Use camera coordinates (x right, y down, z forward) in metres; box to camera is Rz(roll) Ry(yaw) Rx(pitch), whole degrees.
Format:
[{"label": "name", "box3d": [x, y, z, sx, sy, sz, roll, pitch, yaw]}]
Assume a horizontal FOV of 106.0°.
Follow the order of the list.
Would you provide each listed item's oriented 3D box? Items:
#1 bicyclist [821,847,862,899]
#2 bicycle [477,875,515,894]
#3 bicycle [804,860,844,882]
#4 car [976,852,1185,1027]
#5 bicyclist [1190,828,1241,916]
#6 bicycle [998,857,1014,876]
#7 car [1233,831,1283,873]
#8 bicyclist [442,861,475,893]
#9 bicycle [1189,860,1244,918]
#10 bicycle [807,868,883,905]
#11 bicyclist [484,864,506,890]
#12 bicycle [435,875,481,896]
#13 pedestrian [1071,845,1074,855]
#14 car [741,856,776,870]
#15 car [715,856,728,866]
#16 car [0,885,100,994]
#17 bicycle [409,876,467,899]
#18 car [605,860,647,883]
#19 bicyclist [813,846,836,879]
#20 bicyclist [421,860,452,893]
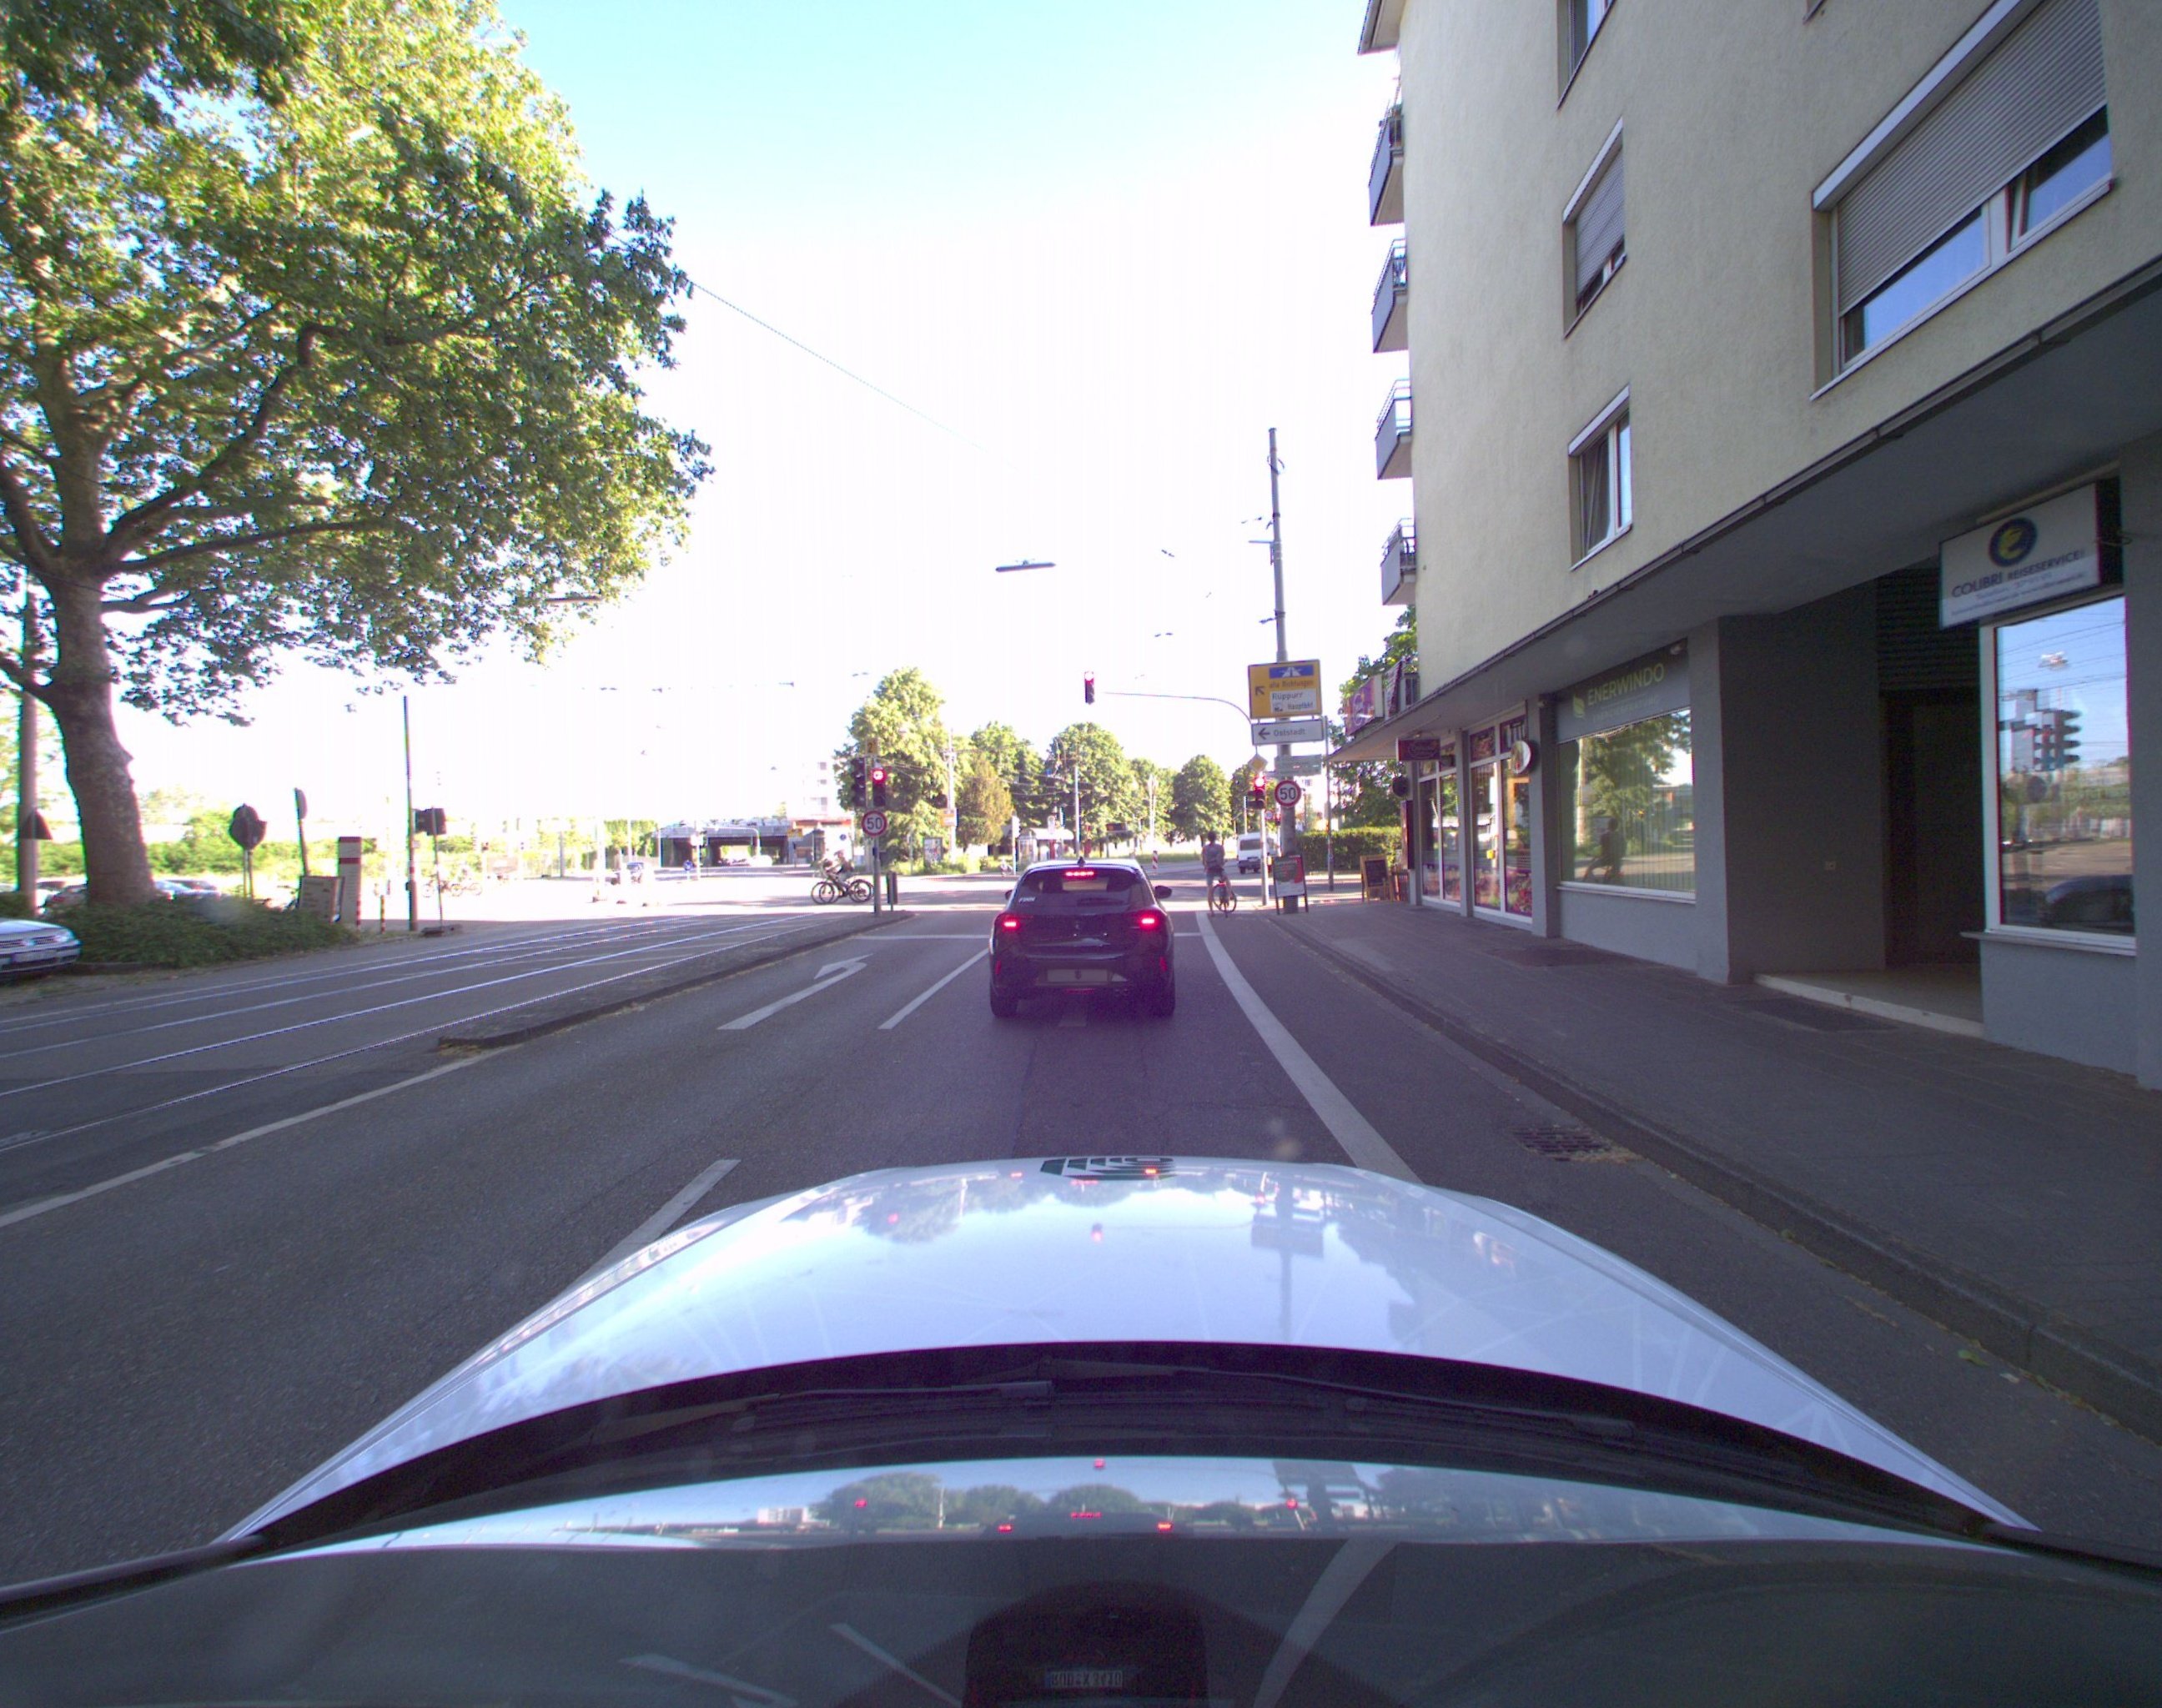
[{"label": "bicyclist", "box3d": [-7.378, 0.565, 25.077, 1.117, 1.520, 0.915, -2, 0, -21]}, {"label": "bicycle", "box3d": [-35.314, 1.832, 49.171, 0.578, 1.060, 2.047, -2, 0, 7]}, {"label": "bicycle", "box3d": [-13.011, 0.863, 41.230, 2.036, 1.094, 0.596, -2, 0, 23]}, {"label": "car", "box3d": [0.070, 0.711, 8.891, 1.720, 1.429, 4.189, -1, 0, 2]}, {"label": "bicyclist", "box3d": [2.952, 0.381, 17.948, 0.938, 1.851, 0.864, -2, 0, 1]}, {"label": "bicycle", "box3d": [-4.304, 0.726, 46.740, 0.603, 1.031, 1.983, -2, 0, 2]}, {"label": "car", "box3d": [10.147, -0.152, 46.385, 2.046, 2.248, 4.912, -2, 0, 20]}, {"label": "bicyclist", "box3d": [-31.299, 1.153, 40.937, 1.003, 1.570, 0.802, -2, 0, 13]}, {"label": "bicycle", "box3d": [2.960, 0.739, 17.989, 0.857, 1.153, 2.172, -2, 0, 1]}, {"label": "bicycle", "box3d": [-7.290, 0.989, 25.165, 2.199, 1.033, 0.828, -2, 0, -21]}, {"label": "bicyclist", "box3d": [-35.335, 1.384, 49.141, 0.632, 1.563, 0.834, -2, 0, 7]}, {"label": "bicycle", "box3d": [-31.304, 1.593, 40.927, 2.044, 0.984, 0.675, -2, 0, 12]}, {"label": "pedestrian", "box3d": [-1.137, -0.536, 107.268, 0.411, 1.412, 0.436, 0, -1, -1]}, {"label": "car", "box3d": [-44.648, 1.260, 112.643, 1.714, 1.805, 4.216, -2, 0, 34]}, {"label": "car", "box3d": [-71.051, 1.314, 161.035, 2.223, 1.823, 4.114, -2, 0, -24]}, {"label": "car", "box3d": [-16.957, 1.201, 11.364, 4.497, 1.429, 1.676, 0, 0, 0]}, {"label": "bicycle", "box3d": [-33.849, 1.761, 42.897, 2.289, 1.084, 0.799, -2, 0, -5]}, {"label": "car", "box3d": [-31.286, 1.153, 56.103, 1.830, 1.519, 3.870, 0, 0, -18]}, {"label": "bicyclist", "box3d": [-12.984, 0.431, 41.223, 0.853, 1.595, 0.653, -2, 0, 23]}, {"label": "bicyclist", "box3d": [-33.954, 1.163, 42.911, 0.925, 1.707, 0.874, -2, 0, -5]}]
